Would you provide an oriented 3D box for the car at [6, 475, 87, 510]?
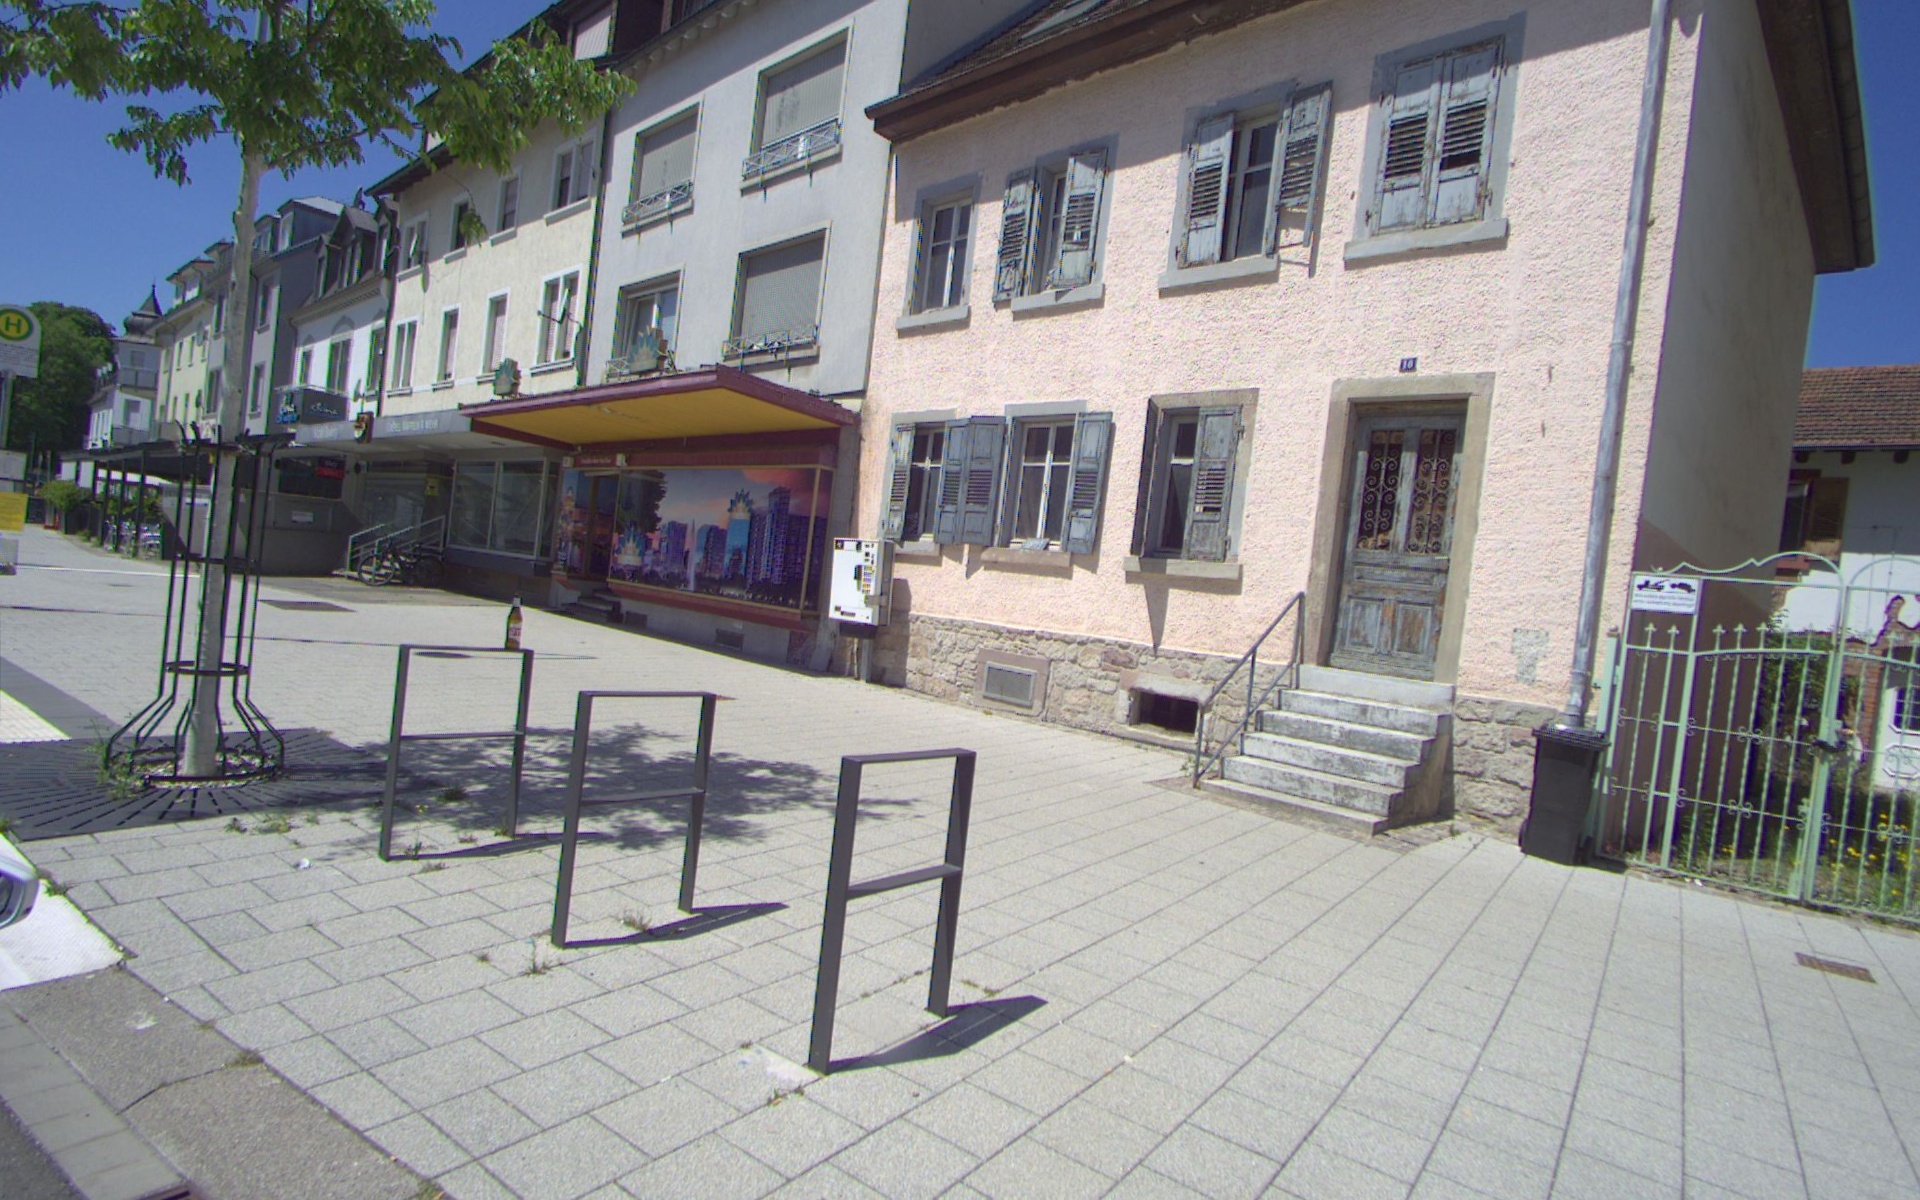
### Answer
[{"bbox_3d":[-65.353,-7.690,72.000,1.831,1.736,4.069,7,-1,43],"label":"car"}]

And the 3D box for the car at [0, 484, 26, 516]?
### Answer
[{"bbox_3d":[-49.509,-5.183,51.328,1.857,1.511,3.828,5,2,-31],"label":"car"}]

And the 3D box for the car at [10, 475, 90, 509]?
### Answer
[{"bbox_3d":[-66.495,-7.868,73.560,1.831,1.736,4.069,7,-1,43],"label":"car"}]

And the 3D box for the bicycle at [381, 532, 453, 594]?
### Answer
[{"bbox_3d":[-12.225,-0.824,22.666,1.264,1.197,0.411,9,-1,-38],"label":"bicycle"}]
